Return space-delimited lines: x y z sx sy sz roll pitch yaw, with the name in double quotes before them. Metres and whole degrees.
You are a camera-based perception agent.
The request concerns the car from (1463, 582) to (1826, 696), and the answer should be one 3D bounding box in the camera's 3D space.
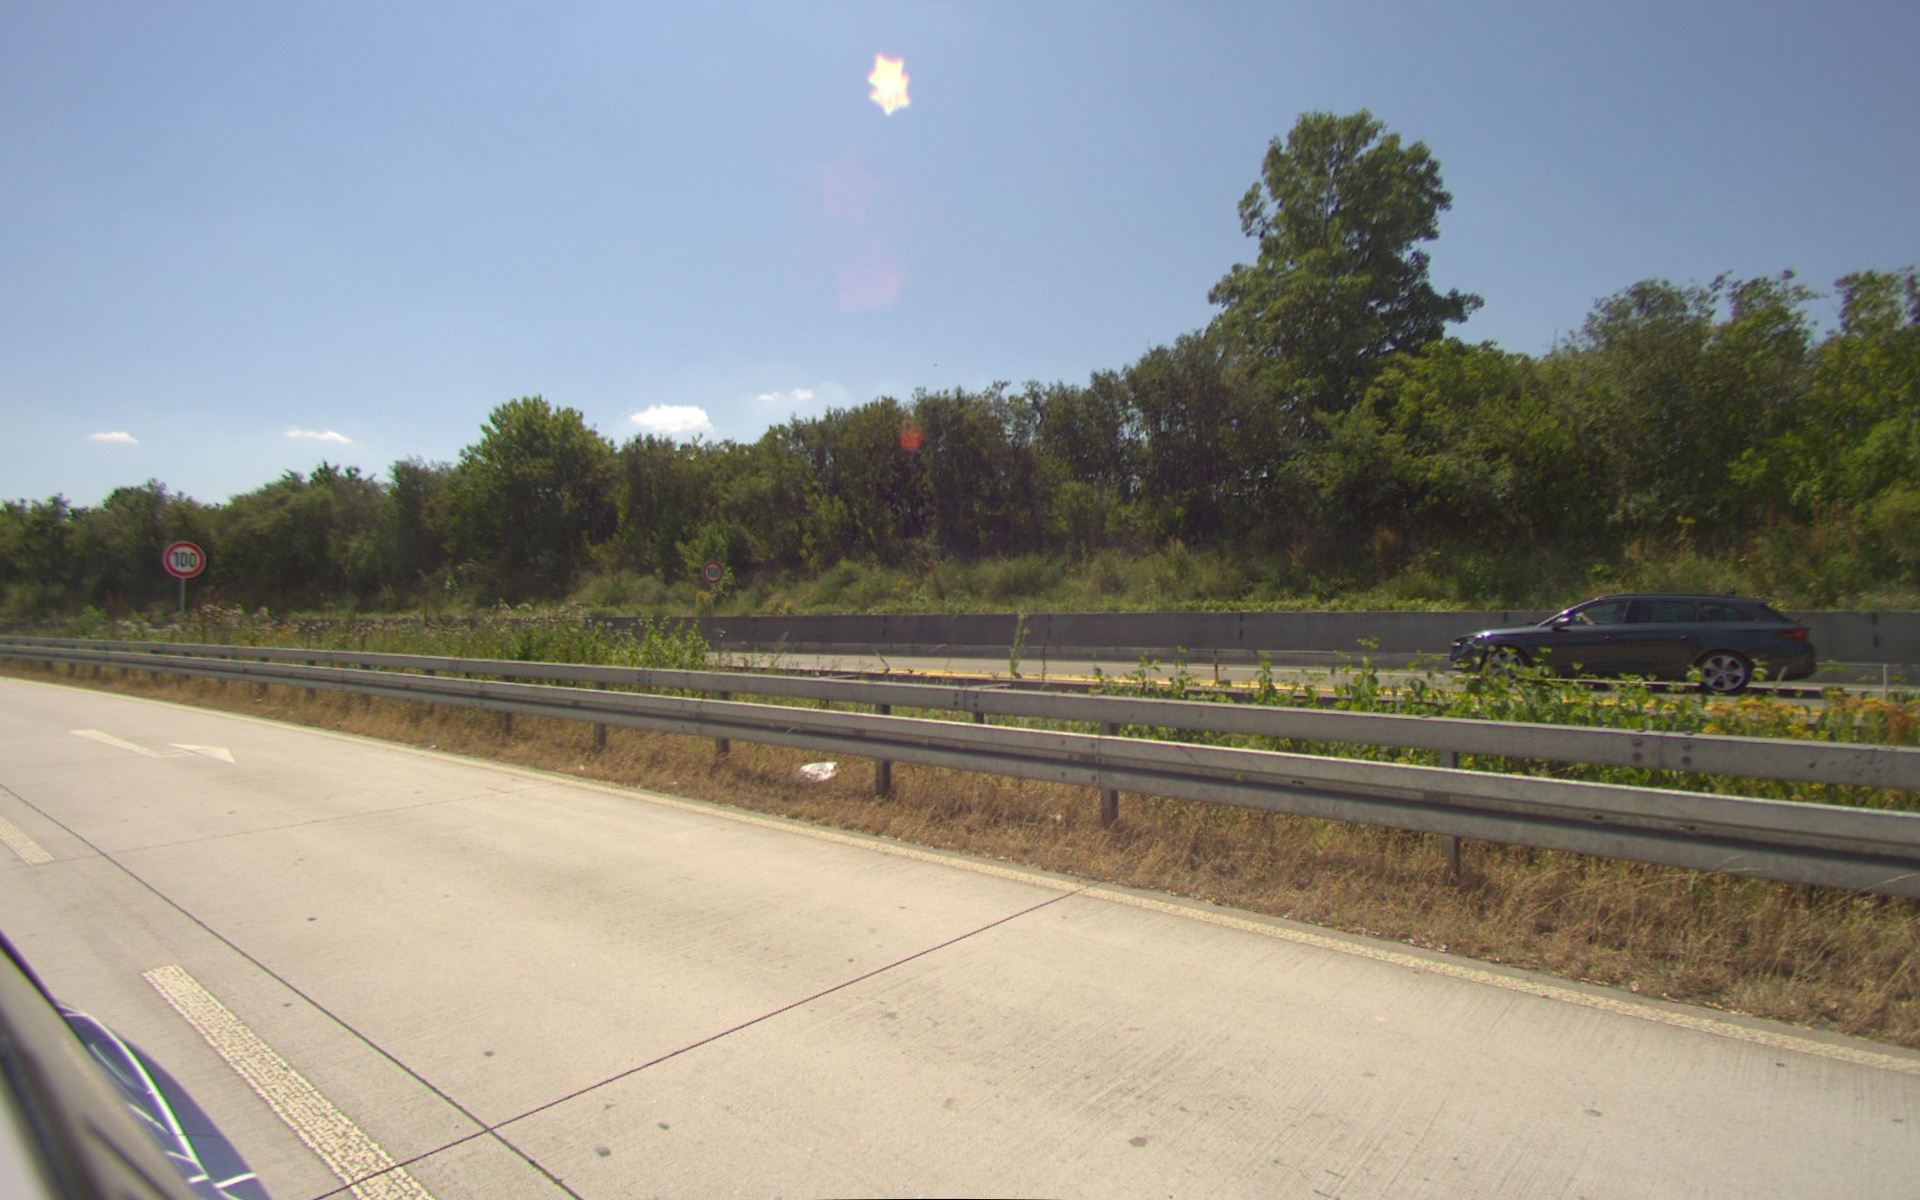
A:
"car" 10.058 0.520 15.191 4.284 1.496 1.697 0 0 35
